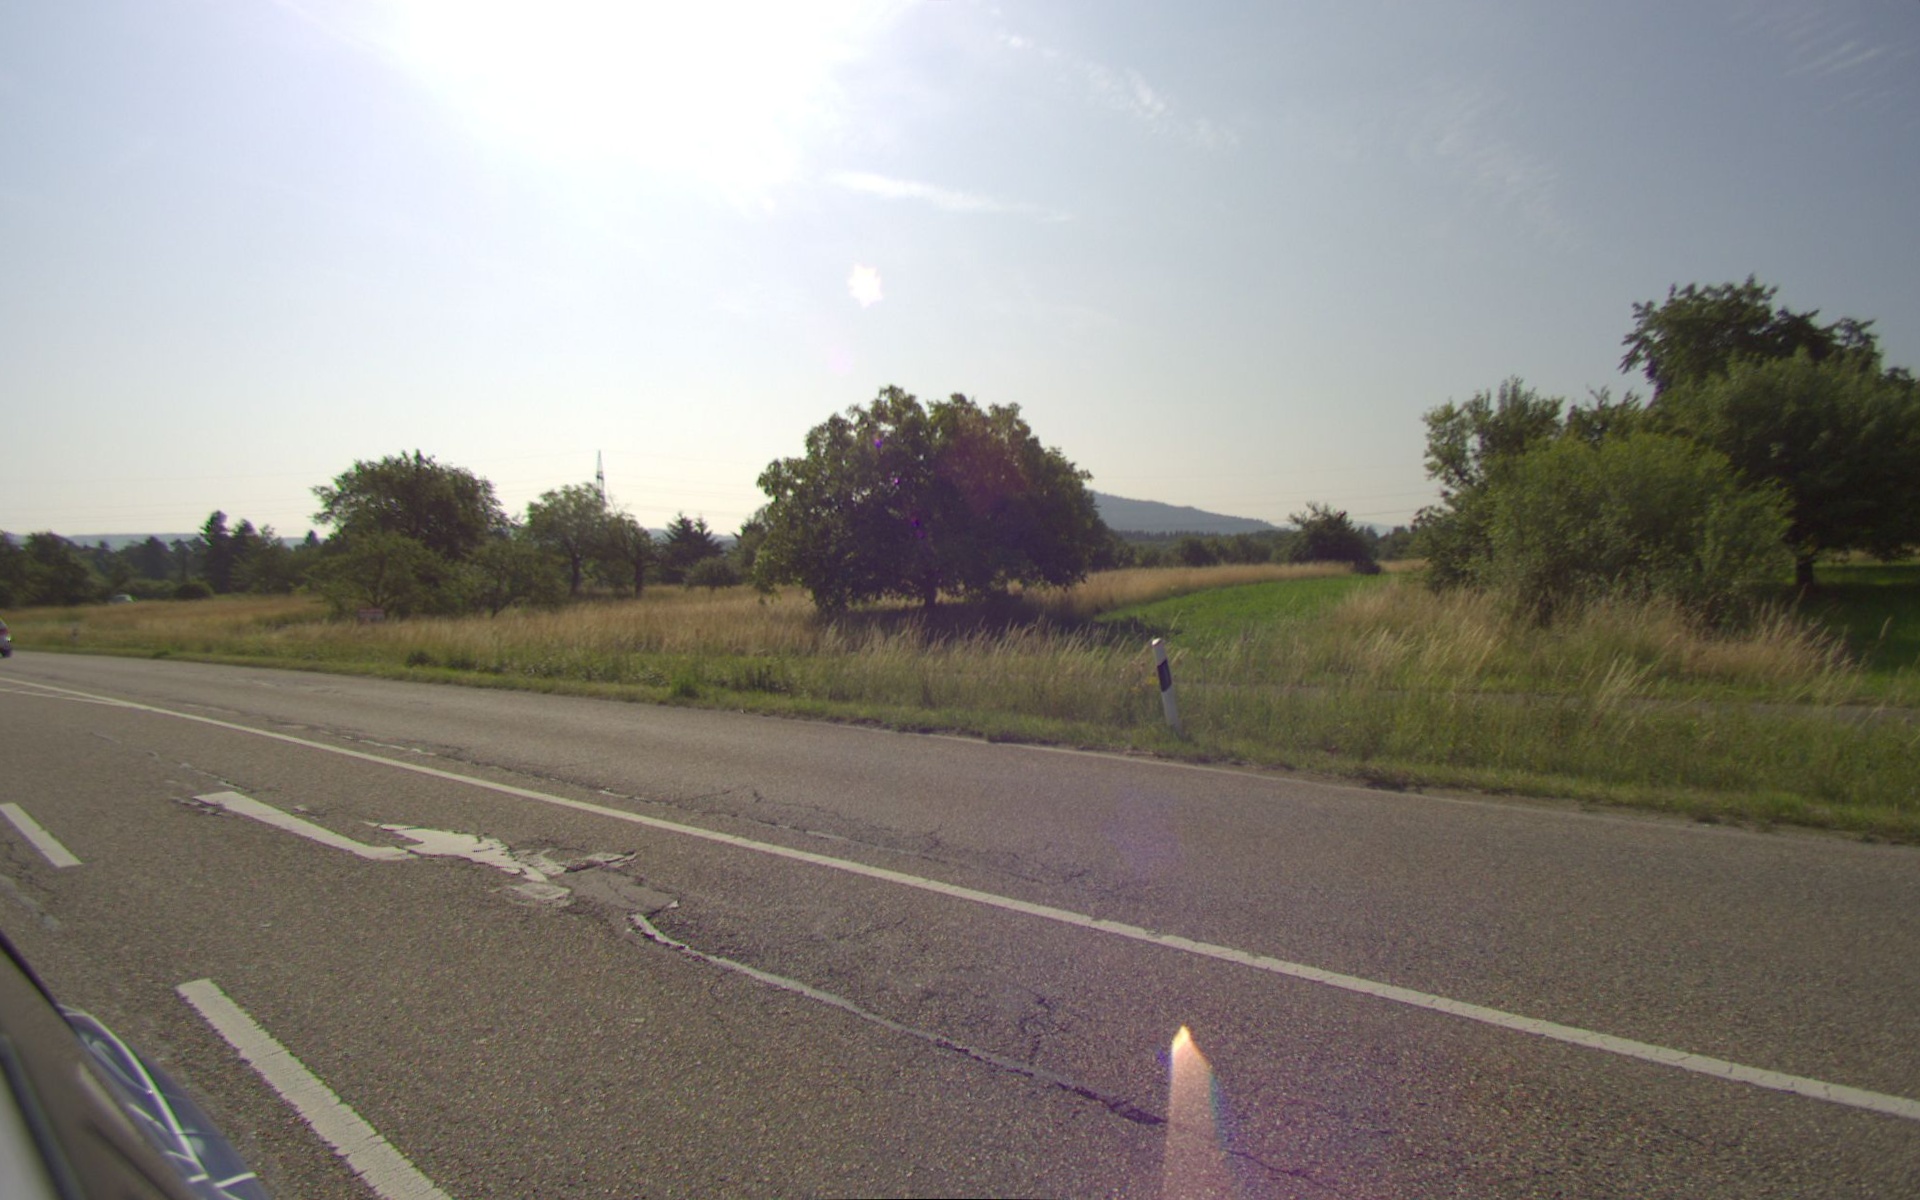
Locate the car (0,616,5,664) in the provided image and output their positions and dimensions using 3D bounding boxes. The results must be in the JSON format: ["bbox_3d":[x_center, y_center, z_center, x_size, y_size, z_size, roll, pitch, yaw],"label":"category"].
[{"bbox_3d":[-34.138,1.390,34.483,4.220,1.597,1.794,-2,0,40],"label":"car"}]
